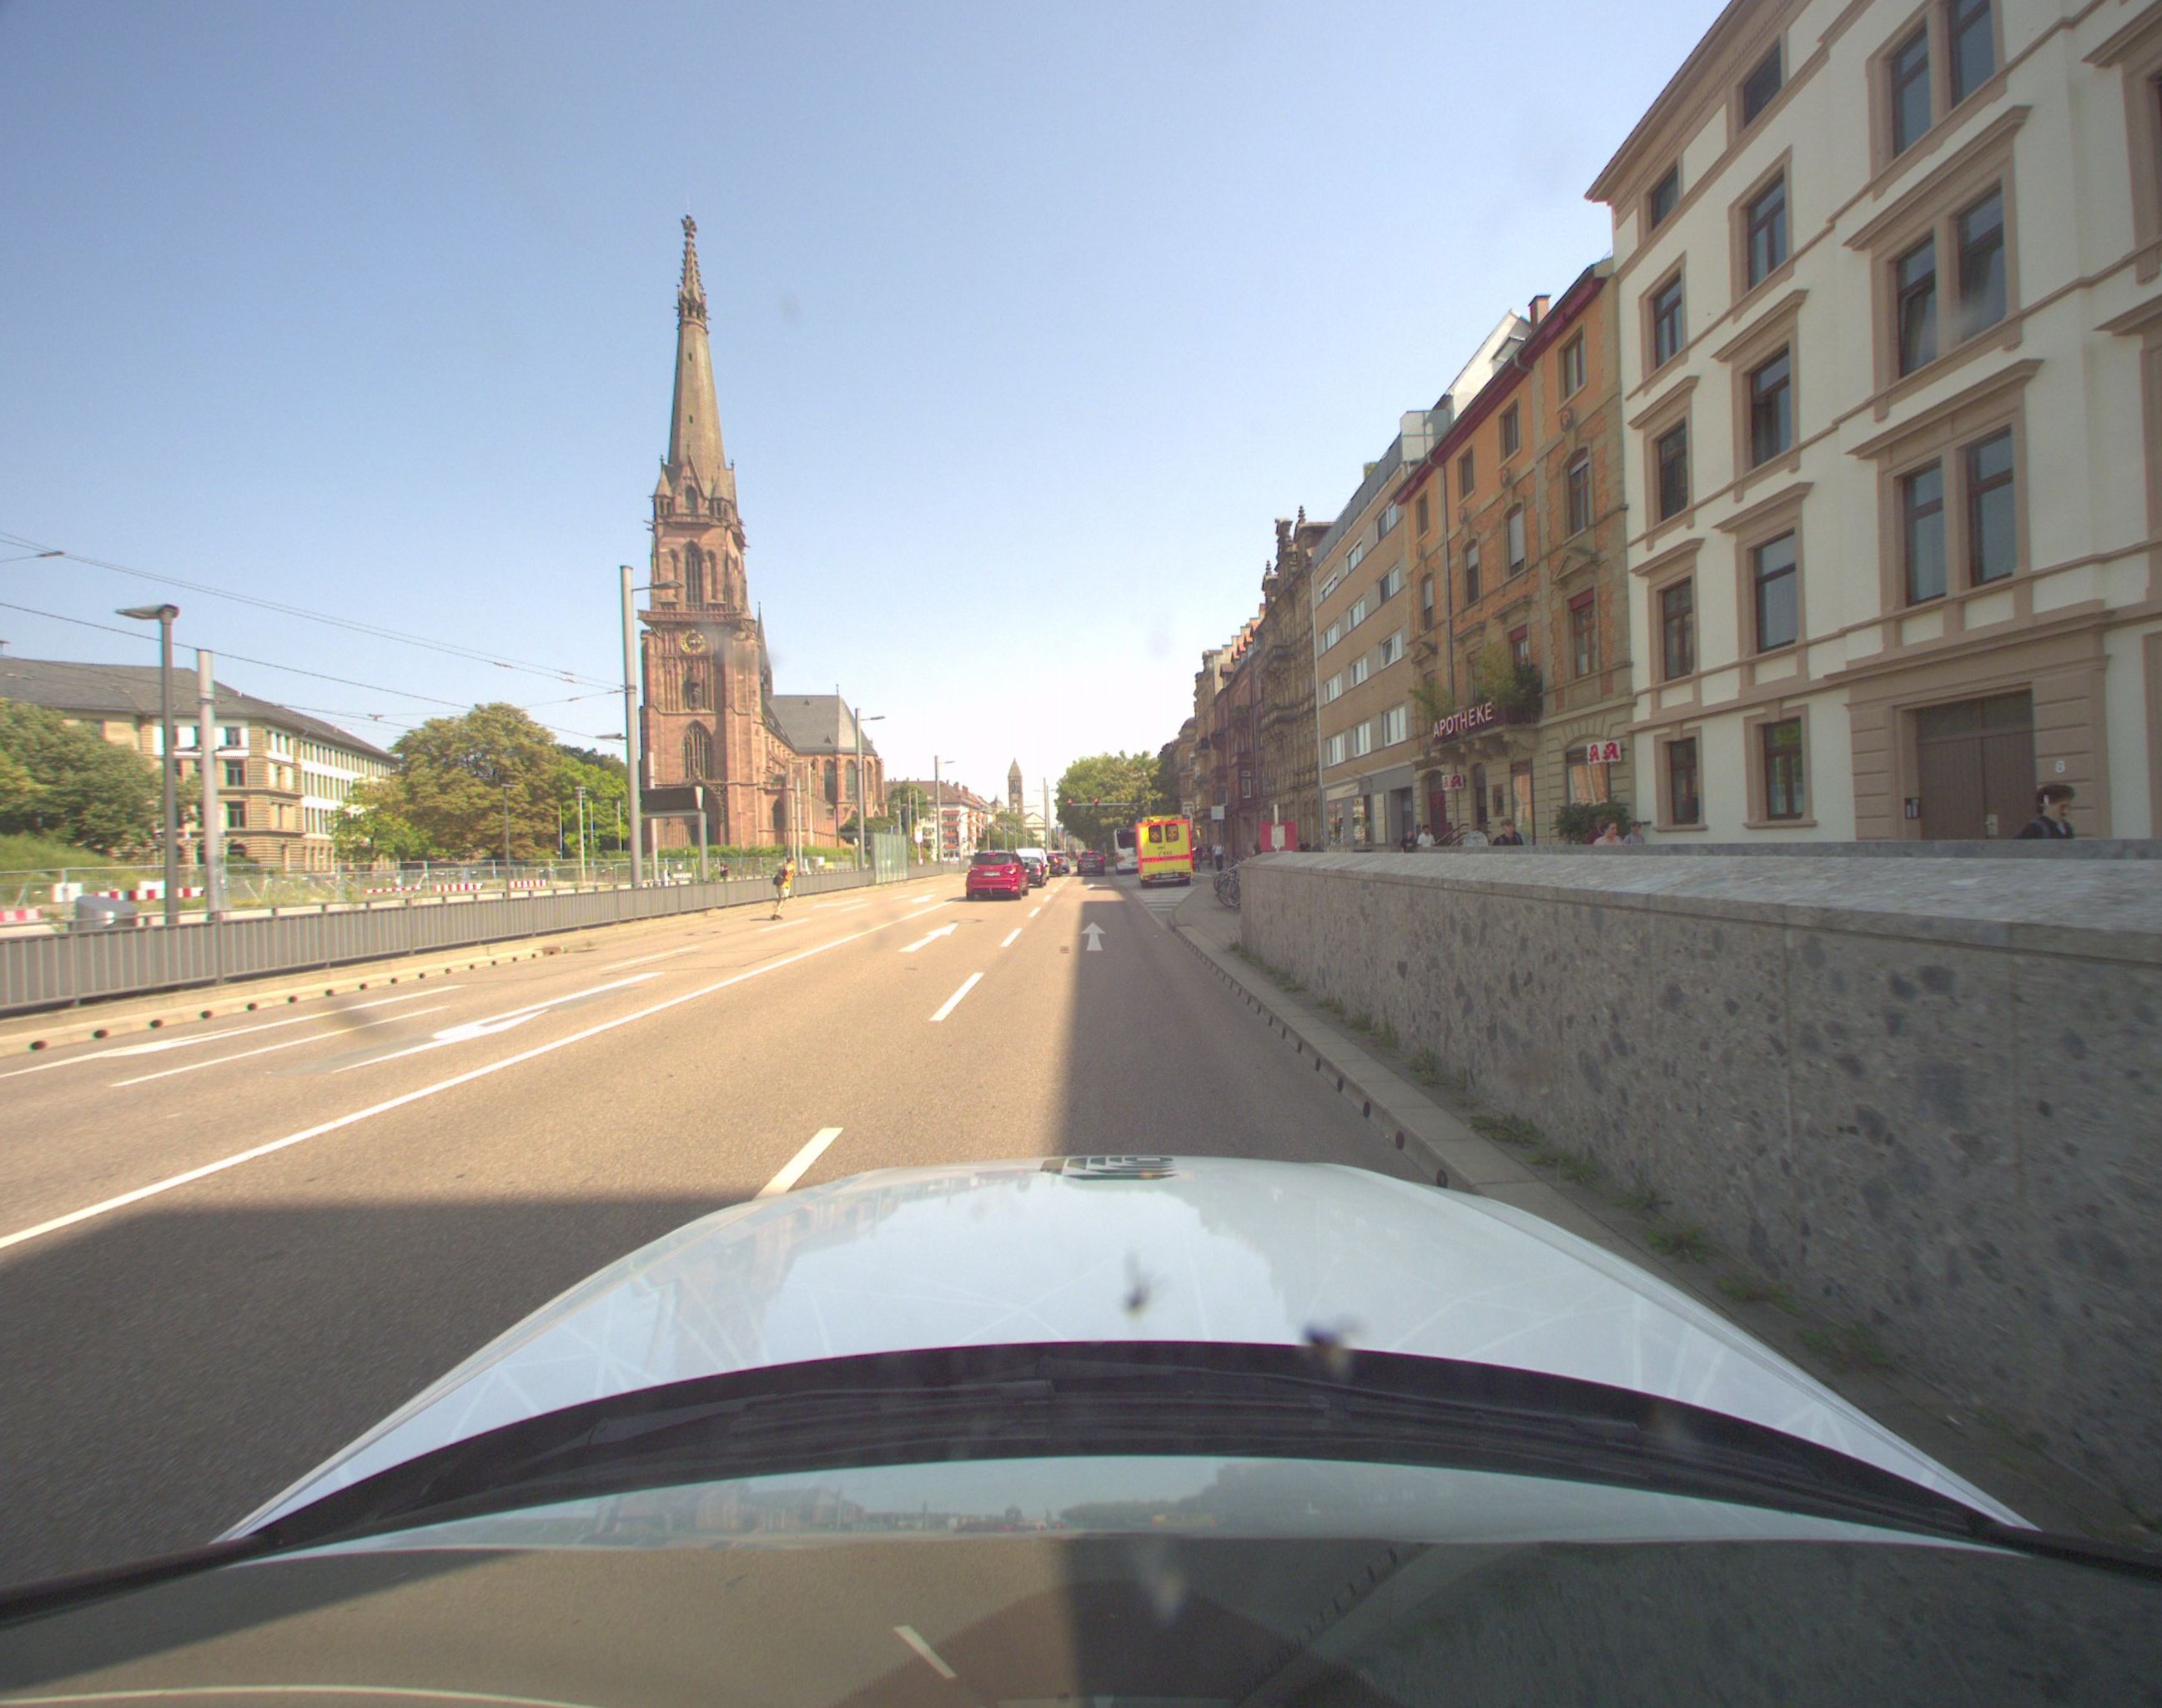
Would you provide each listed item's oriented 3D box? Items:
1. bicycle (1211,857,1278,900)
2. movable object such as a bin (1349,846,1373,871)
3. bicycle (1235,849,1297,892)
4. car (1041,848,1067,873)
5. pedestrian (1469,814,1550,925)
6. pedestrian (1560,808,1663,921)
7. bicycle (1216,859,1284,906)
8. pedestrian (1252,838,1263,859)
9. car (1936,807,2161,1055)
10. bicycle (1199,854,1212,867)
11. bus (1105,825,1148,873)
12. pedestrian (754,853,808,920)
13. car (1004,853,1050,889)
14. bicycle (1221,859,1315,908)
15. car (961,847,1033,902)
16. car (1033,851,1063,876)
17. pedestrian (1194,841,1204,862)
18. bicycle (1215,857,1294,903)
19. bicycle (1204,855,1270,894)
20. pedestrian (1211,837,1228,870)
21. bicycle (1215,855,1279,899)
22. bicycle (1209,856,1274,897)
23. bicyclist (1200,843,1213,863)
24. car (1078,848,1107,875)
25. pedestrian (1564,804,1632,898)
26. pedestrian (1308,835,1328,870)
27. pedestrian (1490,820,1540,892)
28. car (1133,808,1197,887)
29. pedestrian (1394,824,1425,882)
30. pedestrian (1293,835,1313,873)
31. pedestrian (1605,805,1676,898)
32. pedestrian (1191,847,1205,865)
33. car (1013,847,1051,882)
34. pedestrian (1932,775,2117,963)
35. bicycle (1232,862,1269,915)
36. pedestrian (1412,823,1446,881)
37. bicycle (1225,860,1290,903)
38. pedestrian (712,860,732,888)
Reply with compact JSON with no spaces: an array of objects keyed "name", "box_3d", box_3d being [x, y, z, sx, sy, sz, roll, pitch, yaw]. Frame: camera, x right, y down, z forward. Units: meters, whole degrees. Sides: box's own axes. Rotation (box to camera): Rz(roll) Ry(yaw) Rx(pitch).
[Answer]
[{"name":"bicycle","box_3d":[4.334,0.644,21.651,1.652,1.071,0.644,-1,1,0]},{"name":"movable object such as a bin","box_3d":[12.373,0.185,35.943,0.651,1.047,0.755,-3,0,-43]},{"name":"bicycle","box_3d":[5.414,0.482,23.899,1.665,1.215,0.645,-2,0,5]},{"name":"car","box_3d":[-1.997,0.484,60.878,1.785,1.698,3.999,-2,-1,-1]},{"name":"pedestrian","box_3d":[7.078,0.234,13.501,0.845,1.728,0.973,-3,2,7]},{"name":"pedestrian","box_3d":[7.861,0.145,12.083,0.856,1.582,0.961,-2,0,-33]},{"name":"bicycle","box_3d":[4.038,0.681,19.456,1.532,1.071,0.365,-1,1,0]},{"name":"pedestrian","box_3d":[13.307,-0.398,61.426,0.622,1.593,0.695,-2,0,-5]},{"name":"car","box_3d":[7.137,0.444,4.223,1.625,1.440,3.620,-2,1,1]},{"name":"bicycle","box_3d":[8.598,0.414,56.181,0.587,0.854,1.775,-2,0,-1]},{"name":"bus","box_3d":[3.137,-0.356,58.885,2.525,3.031,12.437,-2,0,1]},{"name":"pedestrian","box_3d":[-8.081,0.862,21.971,0.753,1.752,1.076,-3,-1,33]},{"name":"car","box_3d":[-2.377,0.720,36.743,1.785,1.431,3.998,-2,0,-1]},{"name":"bicycle","box_3d":[4.356,0.682,19.019,2.116,1.071,0.381,-2,1,-4]},{"name":"car","box_3d":[-2.735,0.619,27.363,1.755,1.618,4.085,-2,0,2]},{"name":"car","box_3d":[-2.114,0.616,53.280,1.785,1.472,3.999,-2,-1,-1]},{"name":"pedestrian","box_3d":[9.913,-0.211,68.488,0.694,1.667,0.603,-2,0,2]},{"name":"bicycle","box_3d":[4.220,0.628,19.885,1.829,1.071,0.365,-1,1,0]},{"name":"bicycle","box_3d":[4.435,0.579,23.237,1.768,1.072,0.645,-2,0,5]},{"name":"pedestrian","box_3d":[7.131,-0.031,41.876,0.690,1.667,0.606,-2,0,26]},{"name":"bicycle","box_3d":[4.285,0.591,21.053,1.532,1.071,0.472,-1,1,0]},{"name":"bicycle","box_3d":[4.412,0.615,22.419,1.652,1.072,0.644,-2,0,0]},{"name":"bicyclist","box_3d":[8.643,-0.071,55.996,0.750,1.321,0.582,-2,0,0]},{"name":"car","box_3d":[0.717,0.490,54.532,1.785,1.677,3.999,-2,-1,-1]},{"name":"pedestrian","box_3d":[10.276,-0.070,16.226,0.681,1.773,1.018,-2,1,0]},{"name":"pedestrian","box_3d":[10.657,-0.068,36.611,0.641,1.493,0.789,-2,0,0]},{"name":"pedestrian","box_3d":[11.562,0.047,21.707,0.840,1.846,0.684,-4,0,-9]},{"name":"car","box_3d":[3.450,-0.278,34.134,2.288,2.888,5.606,-3,0,4]},{"name":"pedestrian","box_3d":[10.414,-0.035,25.818,0.575,1.750,0.679,-5,0,0]},{"name":"pedestrian","box_3d":[9.975,-0.013,36.630,0.641,1.685,0.789,-2,0,0]},{"name":"pedestrian","box_3d":[11.129,-0.067,16.222,0.681,1.773,1.018,-2,1,0]},{"name":"pedestrian","box_3d":[12.252,0.159,85.088,1.244,1.751,1.527,-2,2,1]},{"name":"car","box_3d":[-2.665,0.554,44.967,1.785,1.780,3.999,-2,-1,-1]},{"name":"pedestrian","box_3d":[8.646,0.120,7.482,0.856,1.582,0.961,-2,0,-33]},{"name":"bicycle","box_3d":[3.707,0.730,17.926,0.474,1.071,1.506,-2,0,1]},{"name":"pedestrian","box_3d":[11.040,-0.063,25.858,0.597,1.795,0.880,-5,0,1]},{"name":"bicycle","box_3d":[4.377,0.673,20.247,1.532,1.016,0.365,-1,1,0]},{"name":"pedestrian","box_3d":[-22.579,1.243,51.203,0.826,1.752,0.721,-2,-1,1]}]
